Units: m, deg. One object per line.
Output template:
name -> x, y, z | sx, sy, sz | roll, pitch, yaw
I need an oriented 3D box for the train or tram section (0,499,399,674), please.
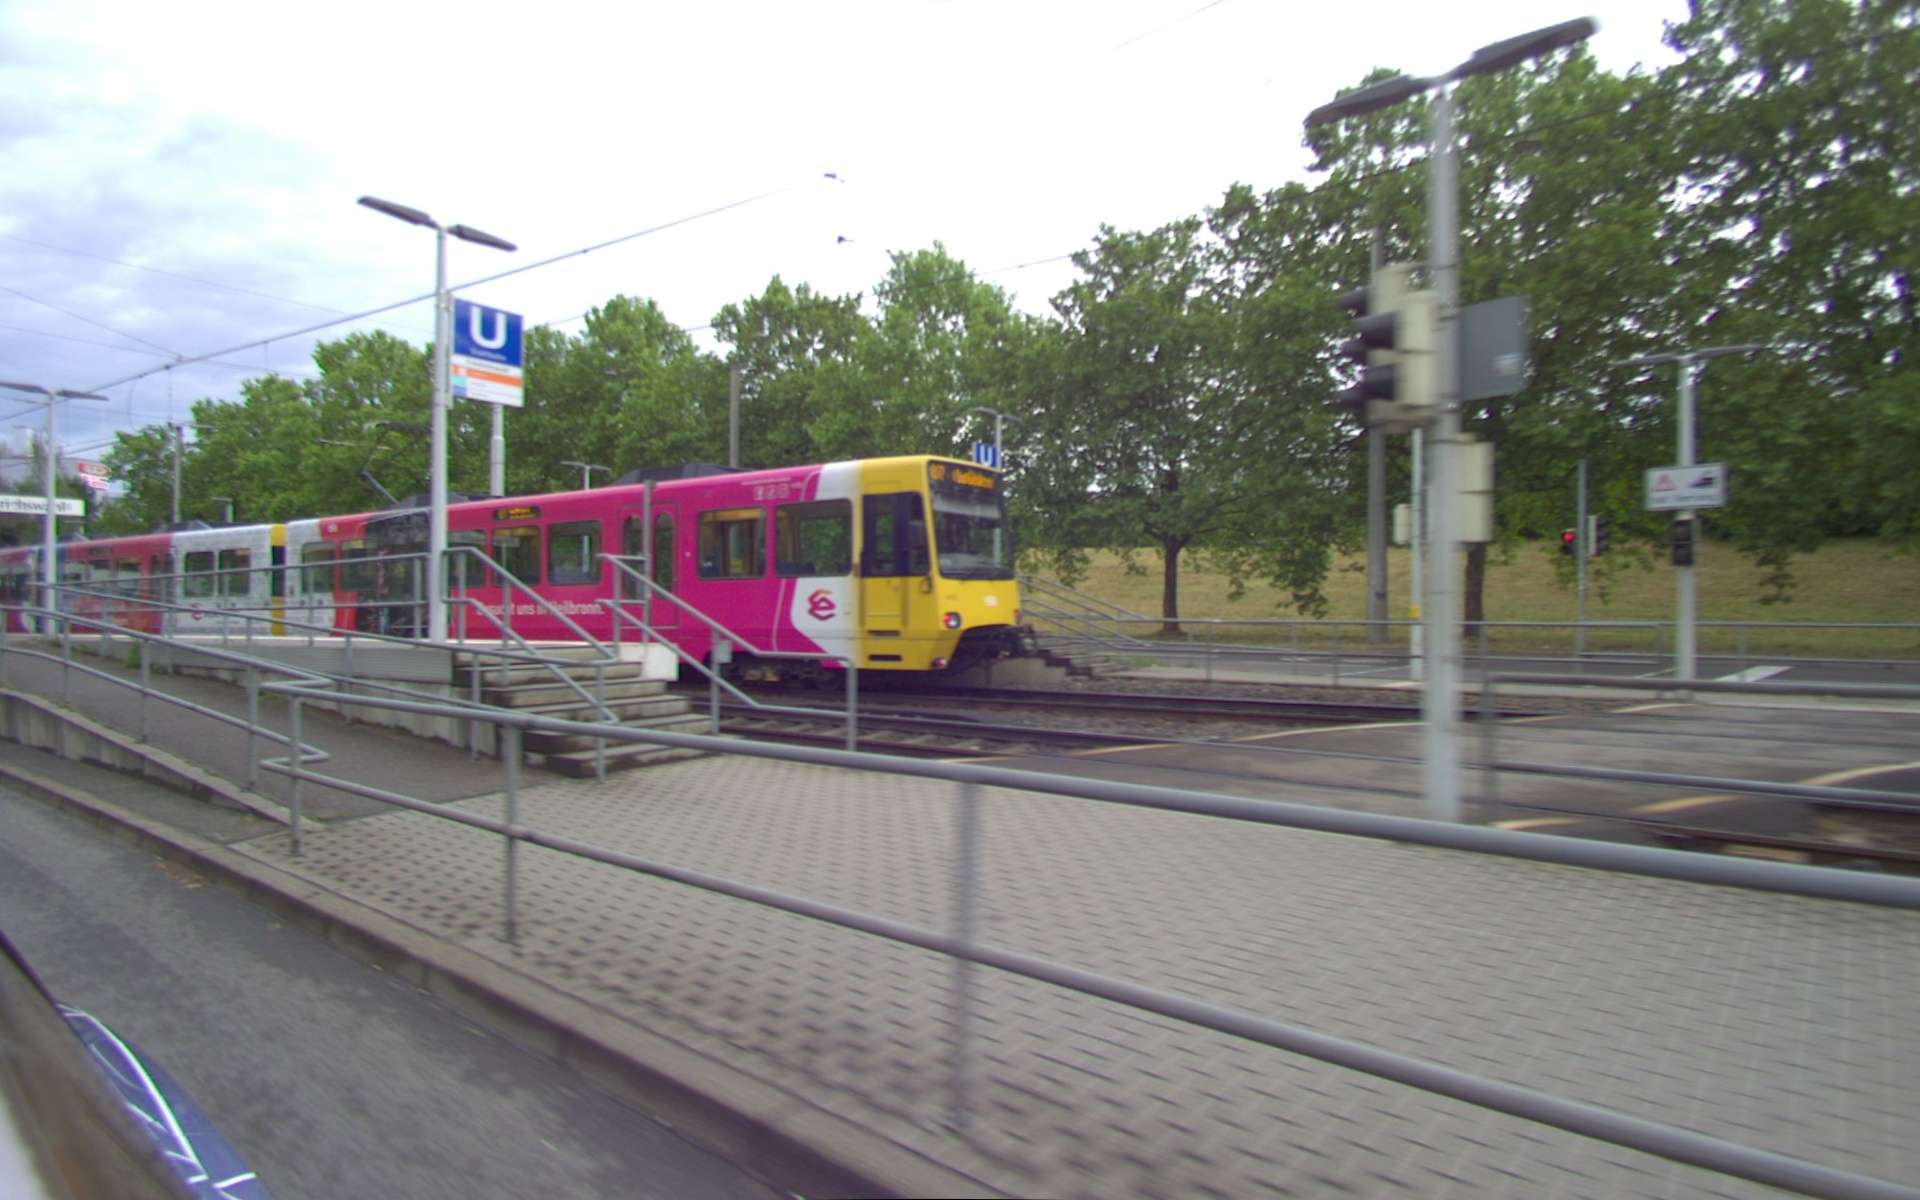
train or tram section -> -23.349, -0.350, 29.268 | 19.251, 4.000, 2.849 | 0, 2, 30

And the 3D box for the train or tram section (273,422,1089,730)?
train or tram section -> -6.923, -0.363, 19.456 | 19.267, 3.990, 2.846 | 0, 2, 32

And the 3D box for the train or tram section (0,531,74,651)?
train or tram section -> -40.186, -0.290, 38.384 | 19.231, 3.983, 2.852 | 0, 2, 27
